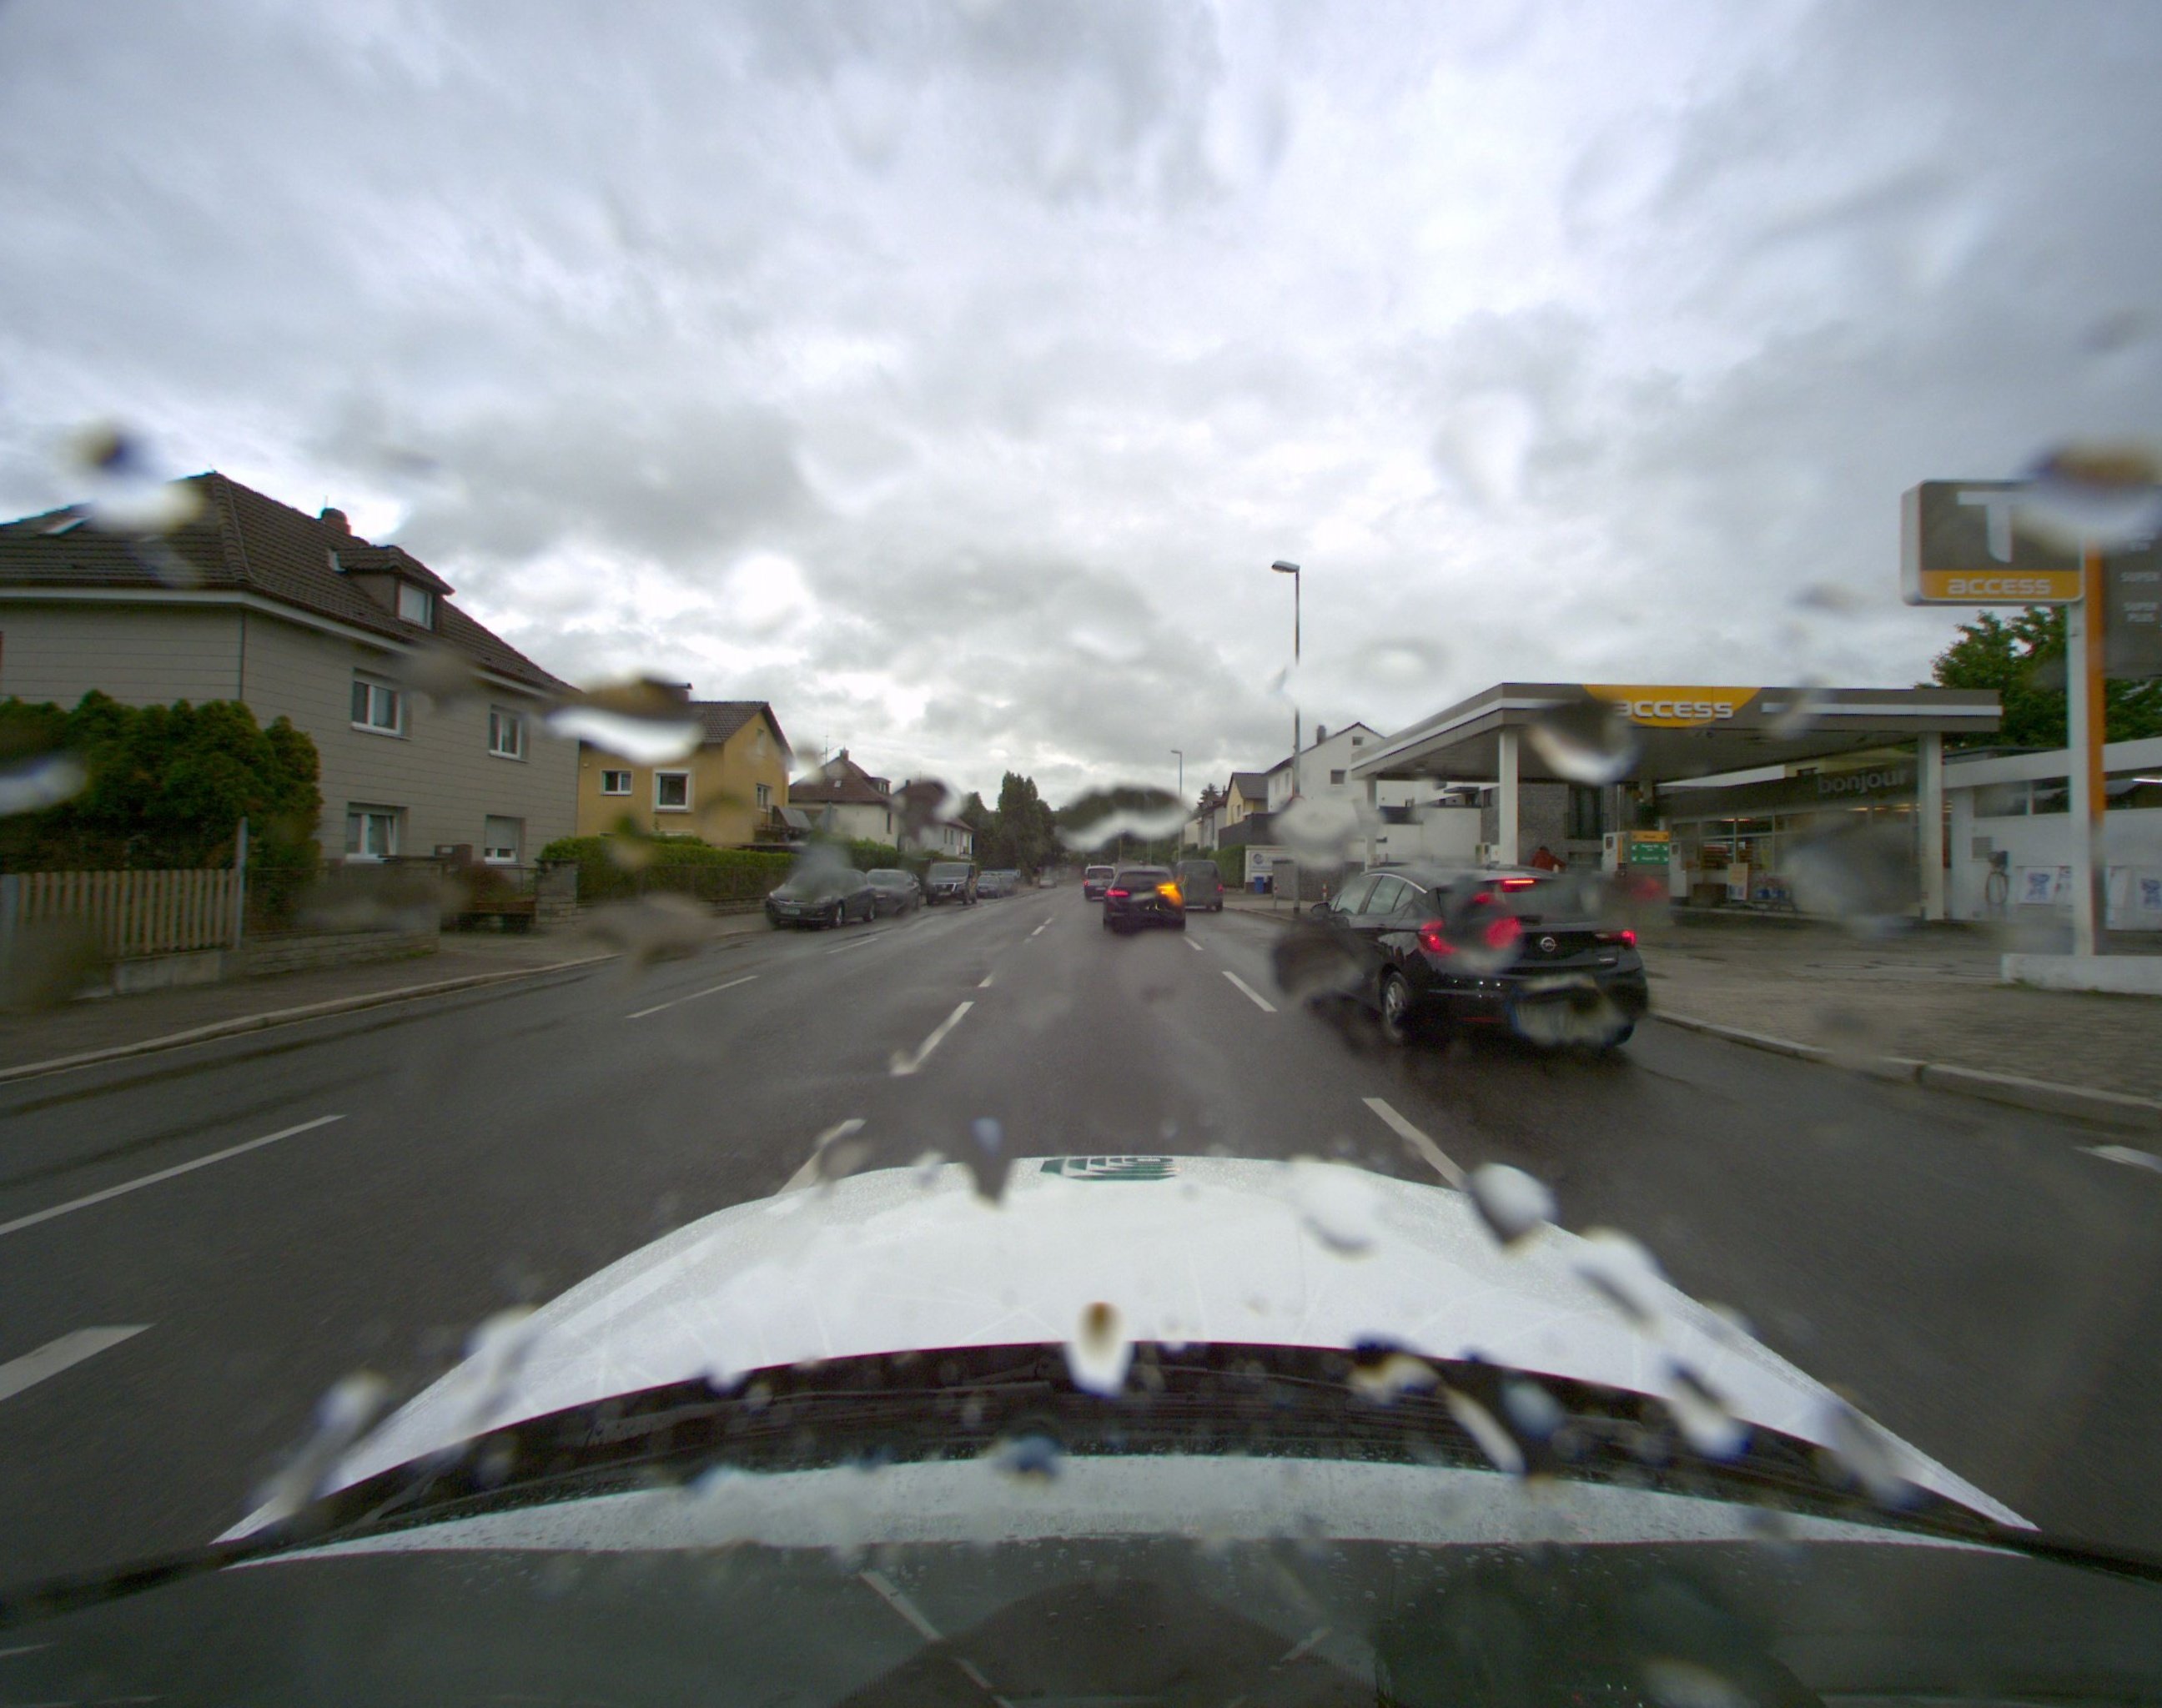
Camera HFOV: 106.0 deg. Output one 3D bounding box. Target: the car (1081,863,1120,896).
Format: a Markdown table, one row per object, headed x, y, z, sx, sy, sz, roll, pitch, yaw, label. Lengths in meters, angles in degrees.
| x | y | z | sx | sy | sz | roll | pitch | yaw | label |
| --- | --- | --- | --- | --- | --- | --- | --- | --- | --- |
| 1.092 | 1.388 | 44.580 | 1.986 | 1.738 | 4.001 | 0 | -2 | 2 | car |

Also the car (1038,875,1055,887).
| x | y | z | sx | sy | sz | roll | pitch | yaw | label |
| --- | --- | --- | --- | --- | --- | --- | --- | --- | --- |
| -4.501 | 3.539 | 106.046 | 1.877 | 1.585 | 4.001 | 0 | -2 | 2 | car |

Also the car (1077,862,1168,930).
| x | y | z | sx | sy | sz | roll | pitch | yaw | label |
| --- | --- | --- | --- | --- | --- | --- | --- | --- | --- |
| 1.002 | 0.977 | 19.800 | 1.985 | 1.484 | 4.002 | 0 | -2 | 3 | car |

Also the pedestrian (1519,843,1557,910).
| x | y | z | sx | sy | sz | roll | pitch | yaw | label |
| --- | --- | --- | --- | --- | --- | --- | --- | --- | --- |
| 11.408 | 0.555 | 20.341 | 0.607 | 1.656 | 0.586 | 0 | -2 | 1 | pedestrian |

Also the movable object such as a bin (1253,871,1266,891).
| x | y | z | sx | sy | sz | roll | pitch | yaw | label |
| --- | --- | --- | --- | --- | --- | --- | --- | --- | --- |
| 10.634 | 1.603 | 48.443 | 0.593 | 1.105 | 0.667 | -3 | -2 | 1 | movable object such as a bin |

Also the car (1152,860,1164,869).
| x | y | z | sx | sy | sz | roll | pitch | yaw | label |
| --- | --- | --- | --- | --- | --- | --- | --- | --- | --- |
| 21.069 | 2.814 | 224.133 | 2.515 | 2.013 | 5.605 | 1 | 3 | -2 | car |

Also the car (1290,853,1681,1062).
| x | y | z | sx | sy | sz | roll | pitch | yaw | label |
| --- | --- | --- | --- | --- | --- | --- | --- | --- | --- |
| 3.328 | 0.717 | 7.673 | 1.750 | 1.449 | 4.000 | 0 | 0 | 1 | car |

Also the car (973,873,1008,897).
| x | y | z | sx | sy | sz | roll | pitch | yaw | label |
| --- | --- | --- | --- | --- | --- | --- | --- | --- | --- |
| -5.866 | 2.009 | 53.308 | 1.751 | 1.533 | 4.286 | 0 | -2 | 1 | car |

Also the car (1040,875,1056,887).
| x | y | z | sx | sy | sz | roll | pitch | yaw | label |
| --- | --- | --- | --- | --- | --- | --- | --- | --- | --- |
| -4.504 | 3.718 | 112.797 | 1.877 | 1.585 | 4.001 | 0 | -2 | 2 | car |

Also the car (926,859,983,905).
| x | y | z | sx | sy | sz | roll | pitch | yaw | label |
| --- | --- | --- | --- | --- | --- | --- | --- | --- | --- |
| -5.846 | 1.316 | 38.087 | 1.907 | 2.003 | 5.085 | 0 | -2 | -1 | car |

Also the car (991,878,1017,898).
| x | y | z | sx | sy | sz | roll | pitch | yaw | label |
| --- | --- | --- | --- | --- | --- | --- | --- | --- | --- |
| -5.599 | 2.477 | 59.596 | 1.546 | 1.431 | 4.012 | 0 | -2 | -1 | car |

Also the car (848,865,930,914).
| x | y | z | sx | sy | sz | roll | pitch | yaw | label |
| --- | --- | --- | --- | --- | --- | --- | --- | --- | --- |
| -6.387 | 1.179 | 27.573 | 1.745 | 1.517 | 4.525 | 0 | -2 | -1 | car |

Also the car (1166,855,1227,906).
| x | y | z | sx | sy | sz | roll | pitch | yaw | label |
| --- | --- | --- | --- | --- | --- | --- | --- | --- | --- |
| 4.249 | 0.980 | 30.486 | 1.831 | 1.767 | 4.001 | 0 | -2 | 2 | car |

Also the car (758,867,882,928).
| x | y | z | sx | sy | sz | roll | pitch | yaw | label |
| --- | --- | --- | --- | --- | --- | --- | --- | --- | --- |
| -6.695 | 1.091 | 21.351 | 1.743 | 1.440 | 4.131 | 0 | -2 | 2 | car |

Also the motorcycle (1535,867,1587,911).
| x | y | z | sx | sy | sz | roll | pitch | yaw | label |
| --- | --- | --- | --- | --- | --- | --- | --- | --- | --- |
| 11.814 | 0.858 | 20.082 | 0.460 | 1.055 | 1.391 | 0 | -2 | 2 | motorcycle |
